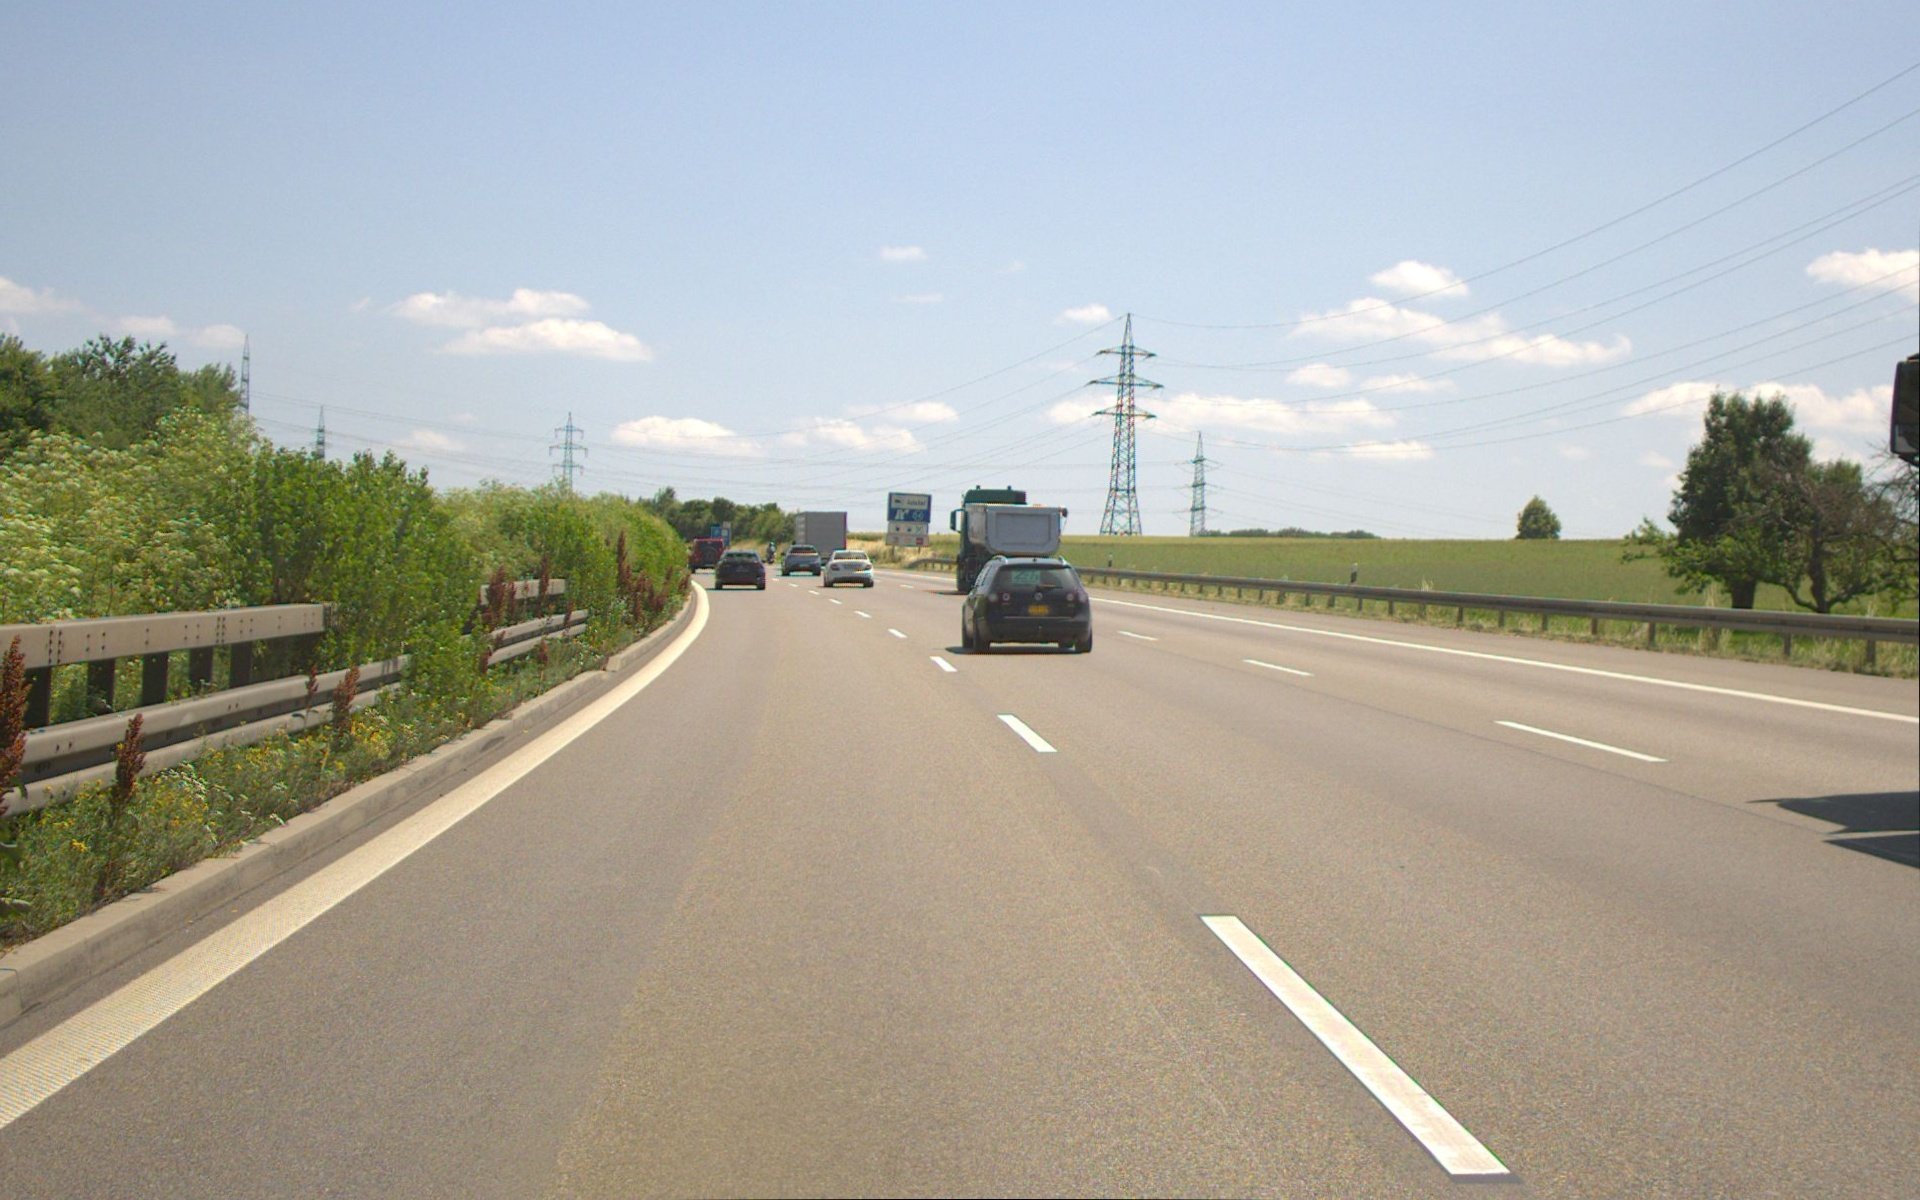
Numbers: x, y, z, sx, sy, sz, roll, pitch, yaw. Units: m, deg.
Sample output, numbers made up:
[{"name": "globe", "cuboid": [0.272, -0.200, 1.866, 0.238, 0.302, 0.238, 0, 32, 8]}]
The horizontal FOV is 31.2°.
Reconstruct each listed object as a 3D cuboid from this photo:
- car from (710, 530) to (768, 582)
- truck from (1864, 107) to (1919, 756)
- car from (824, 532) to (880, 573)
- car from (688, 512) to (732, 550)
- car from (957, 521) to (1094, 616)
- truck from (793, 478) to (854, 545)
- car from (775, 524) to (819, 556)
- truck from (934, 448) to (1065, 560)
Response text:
[{"name": "car", "cuboid": [-8.049, -1.600, 124.967, 1.993, 1.853, 4.001, 0, 1, -5]}, {"name": "truck", "cuboid": [7.471, -1.035, 20.003, 2.561, 4.139, 6.249, 0, 1, -2]}, {"name": "car", "cuboid": [-4.147, -1.831, 132.050, 1.819, 1.535, 3.915, 0, 1, -7]}, {"name": "car", "cuboid": [-13.088, -3.602, 179.855, 1.901, 1.919, 4.001, 0, 1, -9]}, {"name": "car", "cuboid": [0.979, -0.505, 53.247, 1.756, 1.424, 4.001, 0, 1, -4]}, {"name": "truck", "cuboid": [-8.391, -5.383, 210.420, 3.220, 3.911, 9.062, 0, 0, -5]}, {"name": "car", "cuboid": [-8.108, -2.984, 170.929, 1.838, 1.535, 3.915, 0, 1, -8]}, {"name": "truck", "cuboid": [1.264, -3.311, 120.608, 2.864, 3.711, 12.766, 0, 1, -7]}]
